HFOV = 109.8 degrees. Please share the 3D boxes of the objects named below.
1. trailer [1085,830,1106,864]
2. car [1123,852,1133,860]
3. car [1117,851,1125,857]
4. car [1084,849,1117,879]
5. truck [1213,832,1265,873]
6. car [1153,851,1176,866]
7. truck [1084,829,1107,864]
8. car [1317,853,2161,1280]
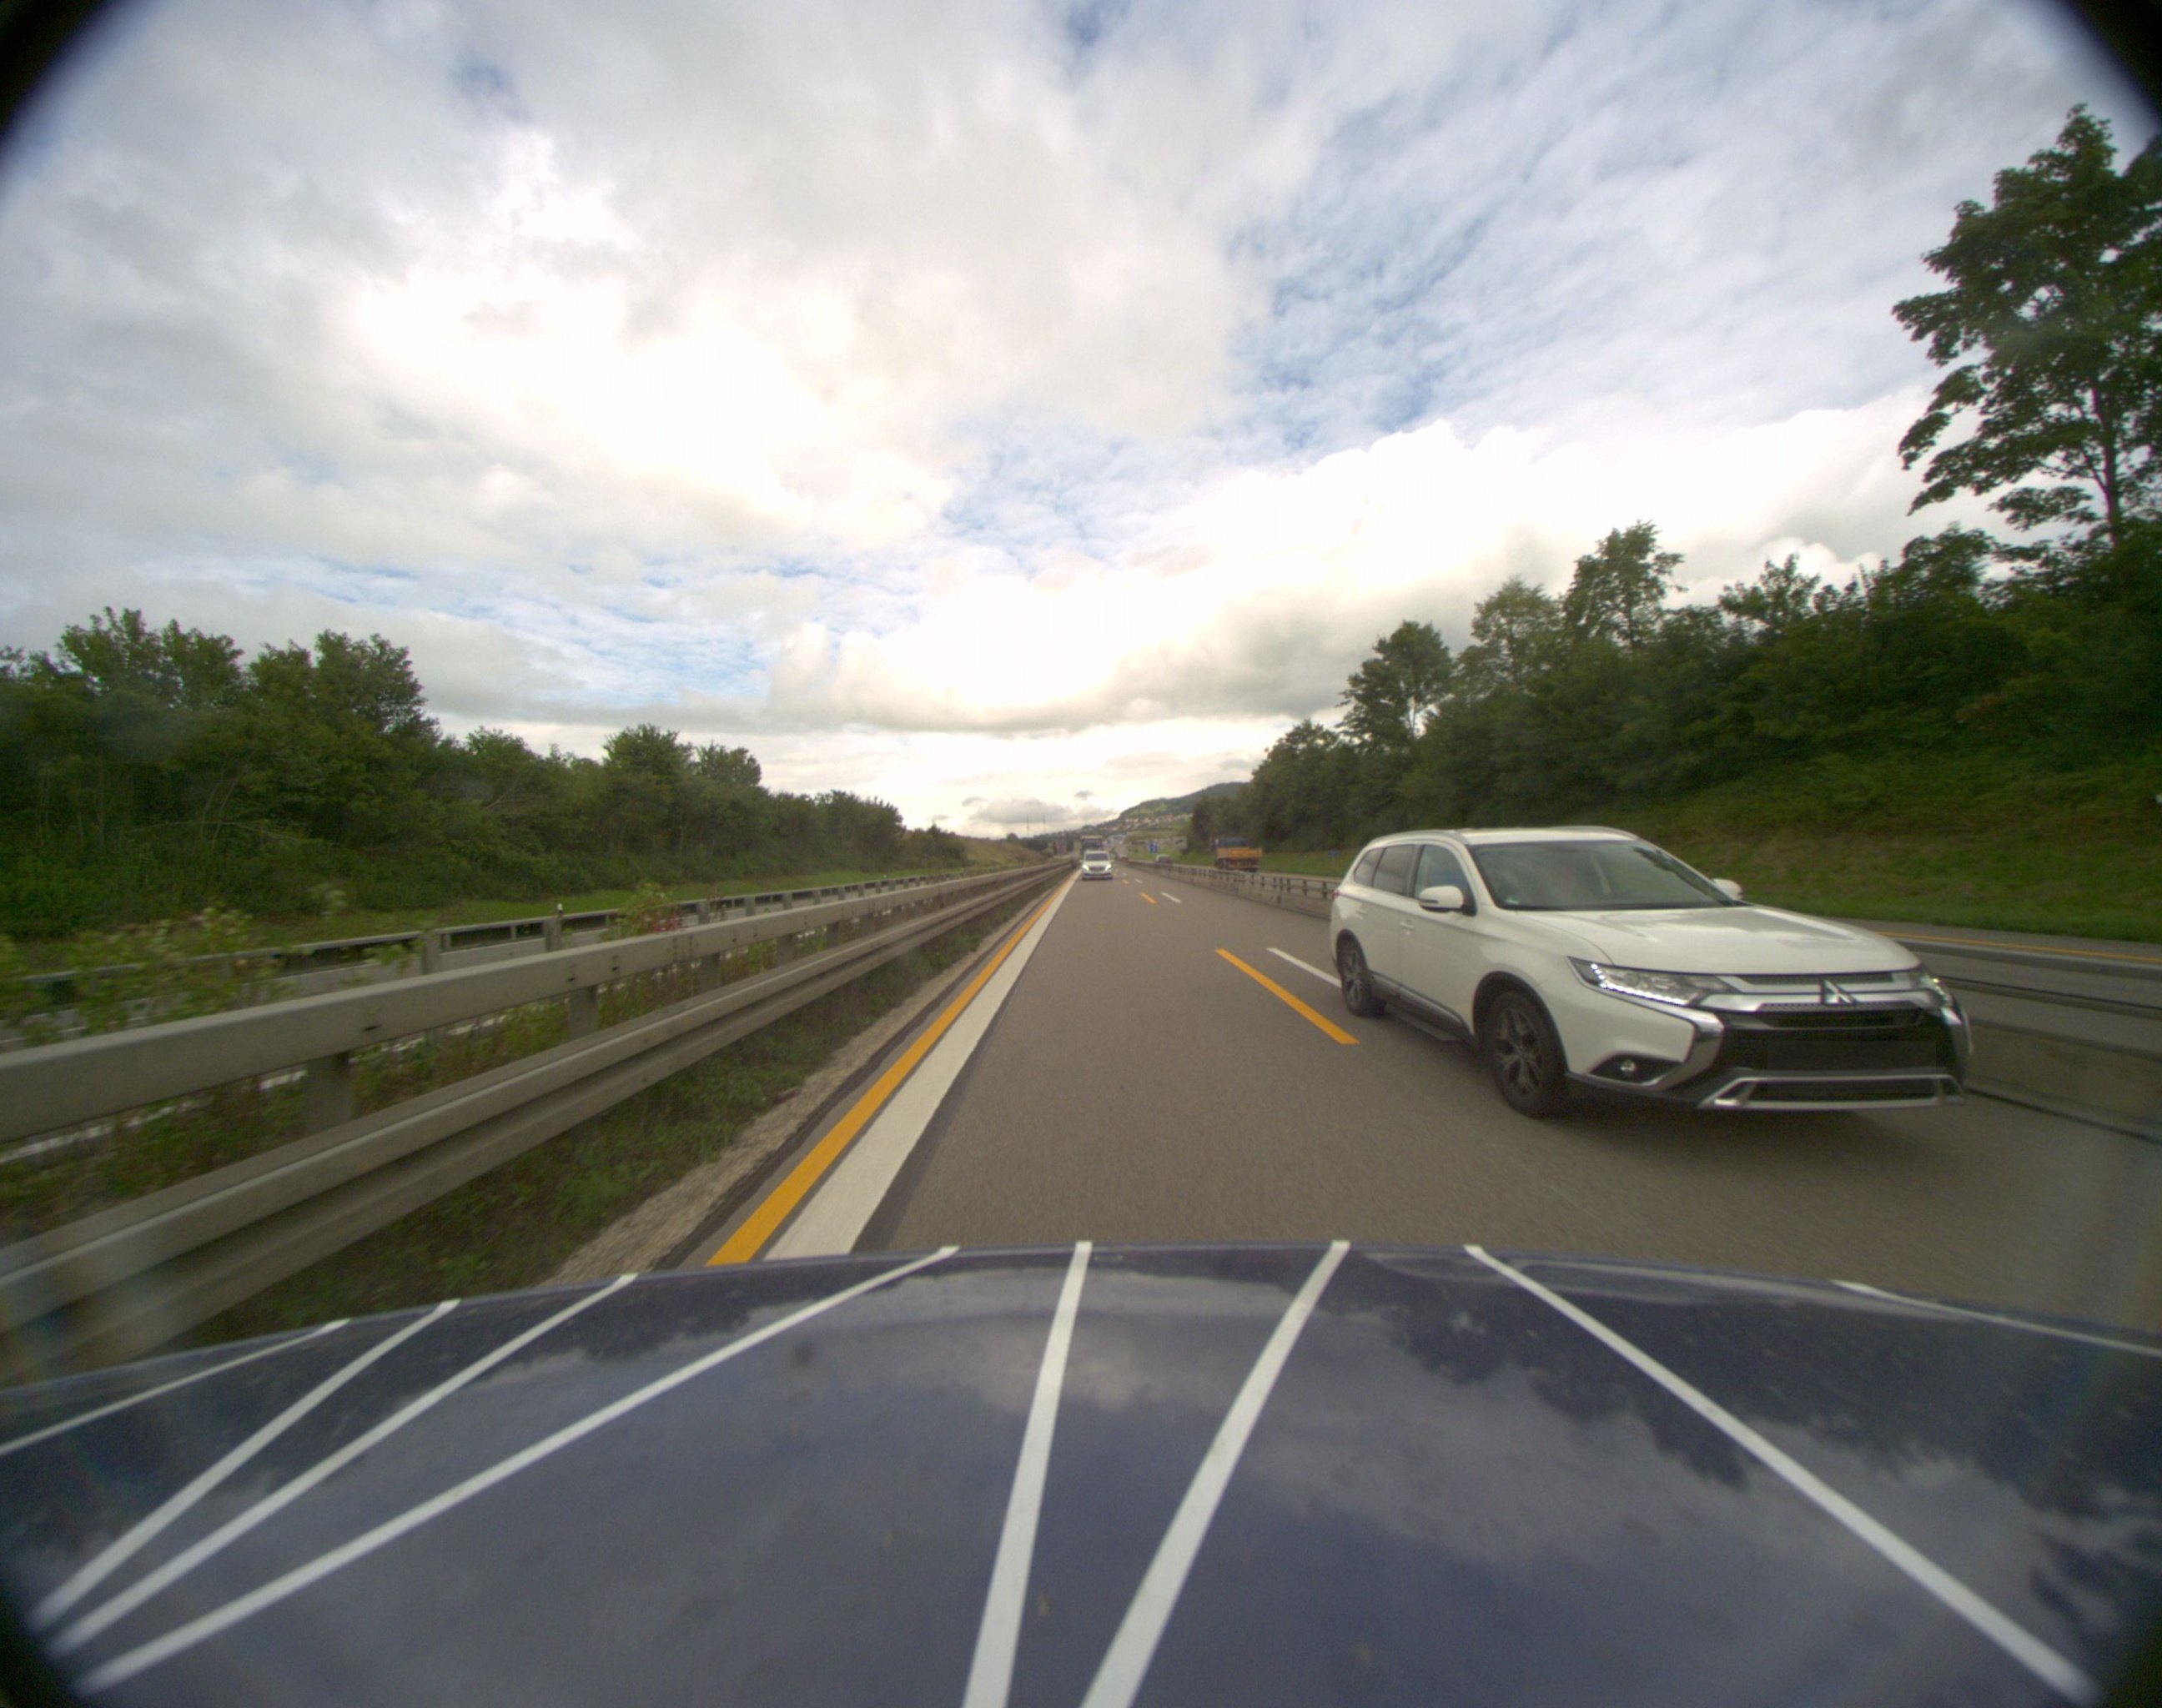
[{"bbox_3d":[1.907,-0.885,97.973,2.521,4.081,11.113,-2,0,1],"label":"trailer"},{"bbox_3d":[9.792,0.406,159.270,1.939,1.482,4.589,-3,0,1],"label":"car"},{"bbox_3d":[10.929,-0.055,207.442,2.003,1.490,4.901,-2,0,2],"label":"car"},{"bbox_3d":[1.272,0.590,49.397,1.990,1.787,4.586,-2,0,1],"label":"car"},{"bbox_3d":[11.491,-0.118,55.845,2.496,2.702,6.667,-2,0,1],"label":"truck"},{"bbox_3d":[9.026,0.466,82.103,1.998,1.498,4.832,-2,0,1],"label":"car"},{"bbox_3d":[1.775,-0.887,92.754,2.521,4.081,5.685,-2,1,1],"label":"truck"},{"bbox_3d":[3.281,0.825,5.229,1.998,1.618,4.607,-1,0,2],"label":"car"}]
